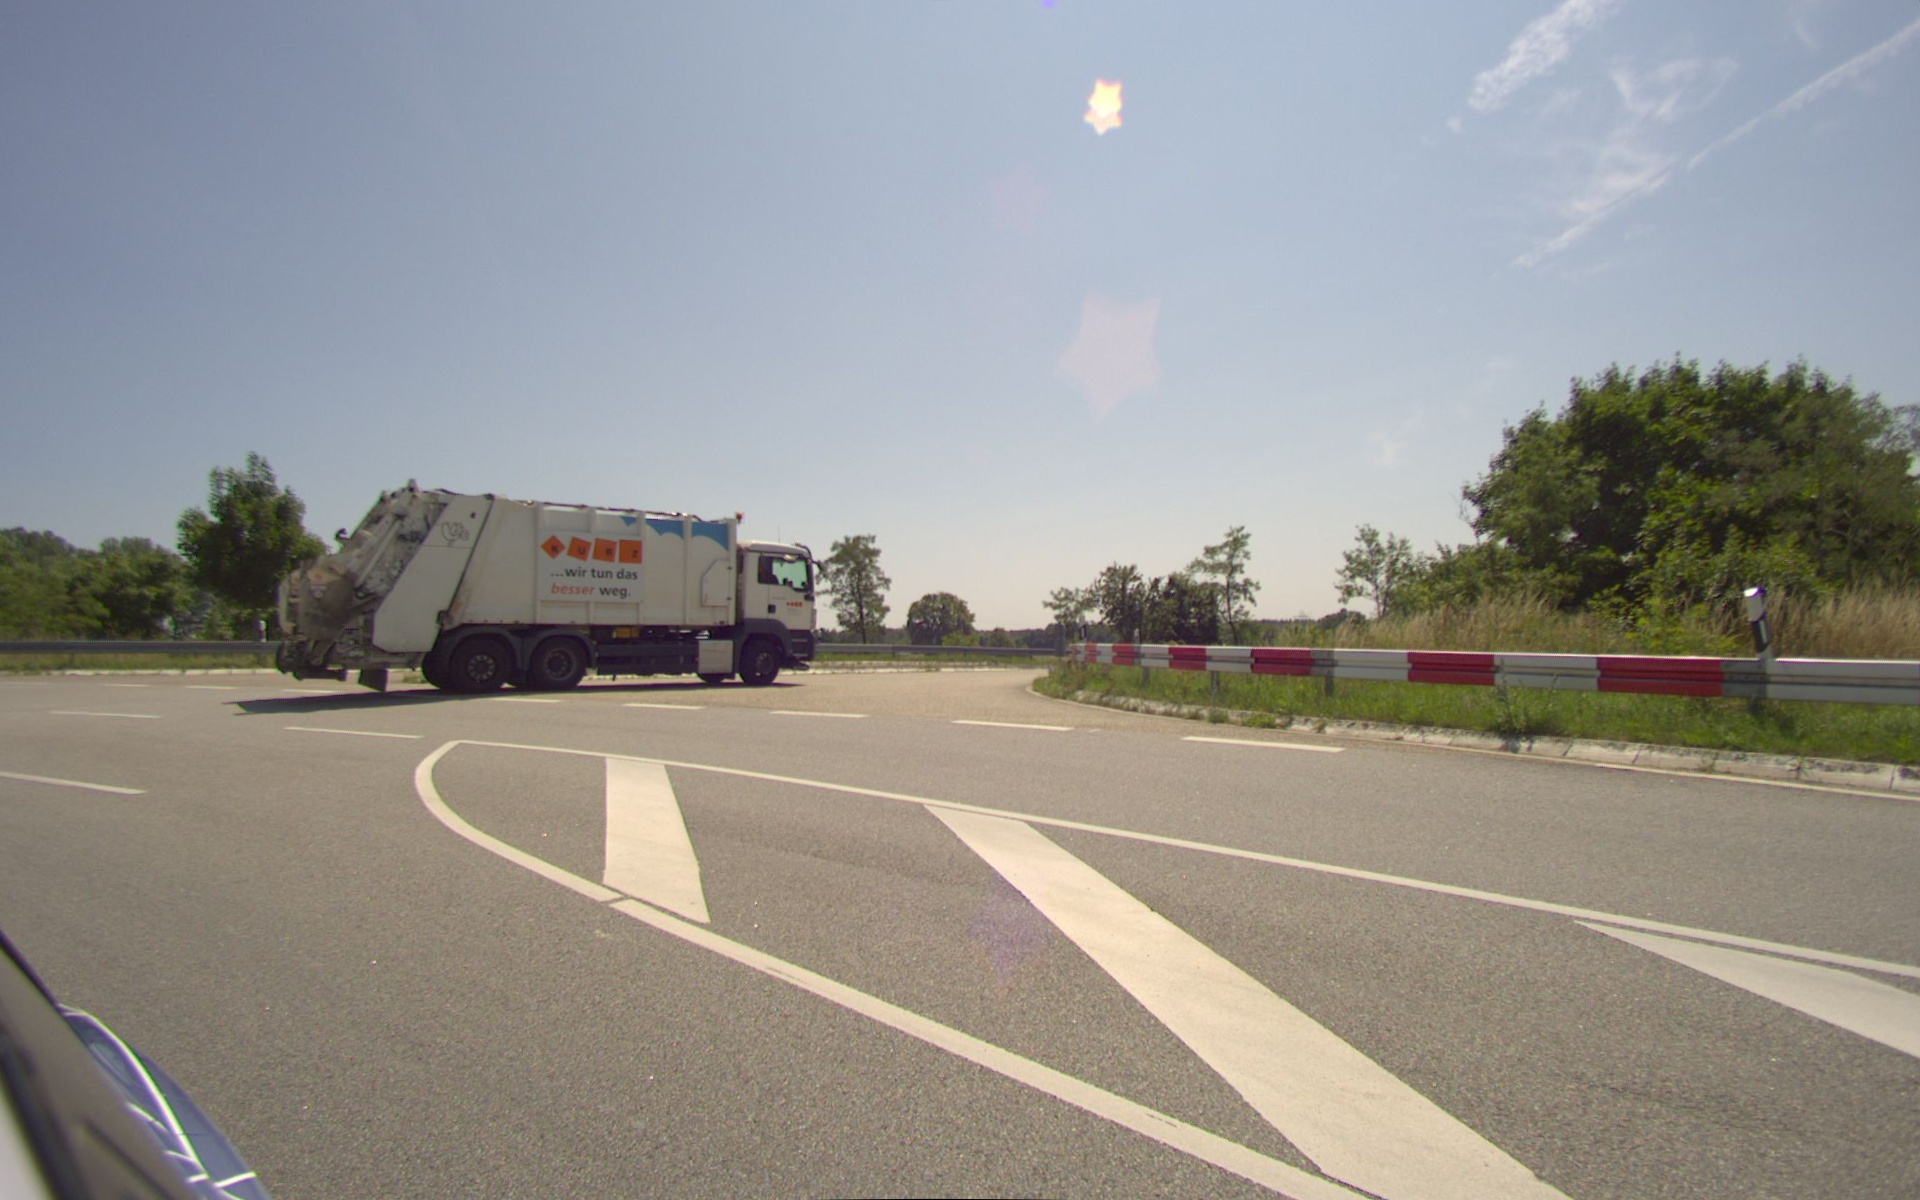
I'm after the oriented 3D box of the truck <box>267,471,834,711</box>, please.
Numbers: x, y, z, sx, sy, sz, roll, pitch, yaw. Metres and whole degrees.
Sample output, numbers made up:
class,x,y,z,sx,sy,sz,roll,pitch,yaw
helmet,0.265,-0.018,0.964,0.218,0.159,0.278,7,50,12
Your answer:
class,x,y,z,sx,sy,sz,roll,pitch,yaw
truck,-7.466,-0.124,19.733,9.788,3.697,2.827,-1,-3,-39
